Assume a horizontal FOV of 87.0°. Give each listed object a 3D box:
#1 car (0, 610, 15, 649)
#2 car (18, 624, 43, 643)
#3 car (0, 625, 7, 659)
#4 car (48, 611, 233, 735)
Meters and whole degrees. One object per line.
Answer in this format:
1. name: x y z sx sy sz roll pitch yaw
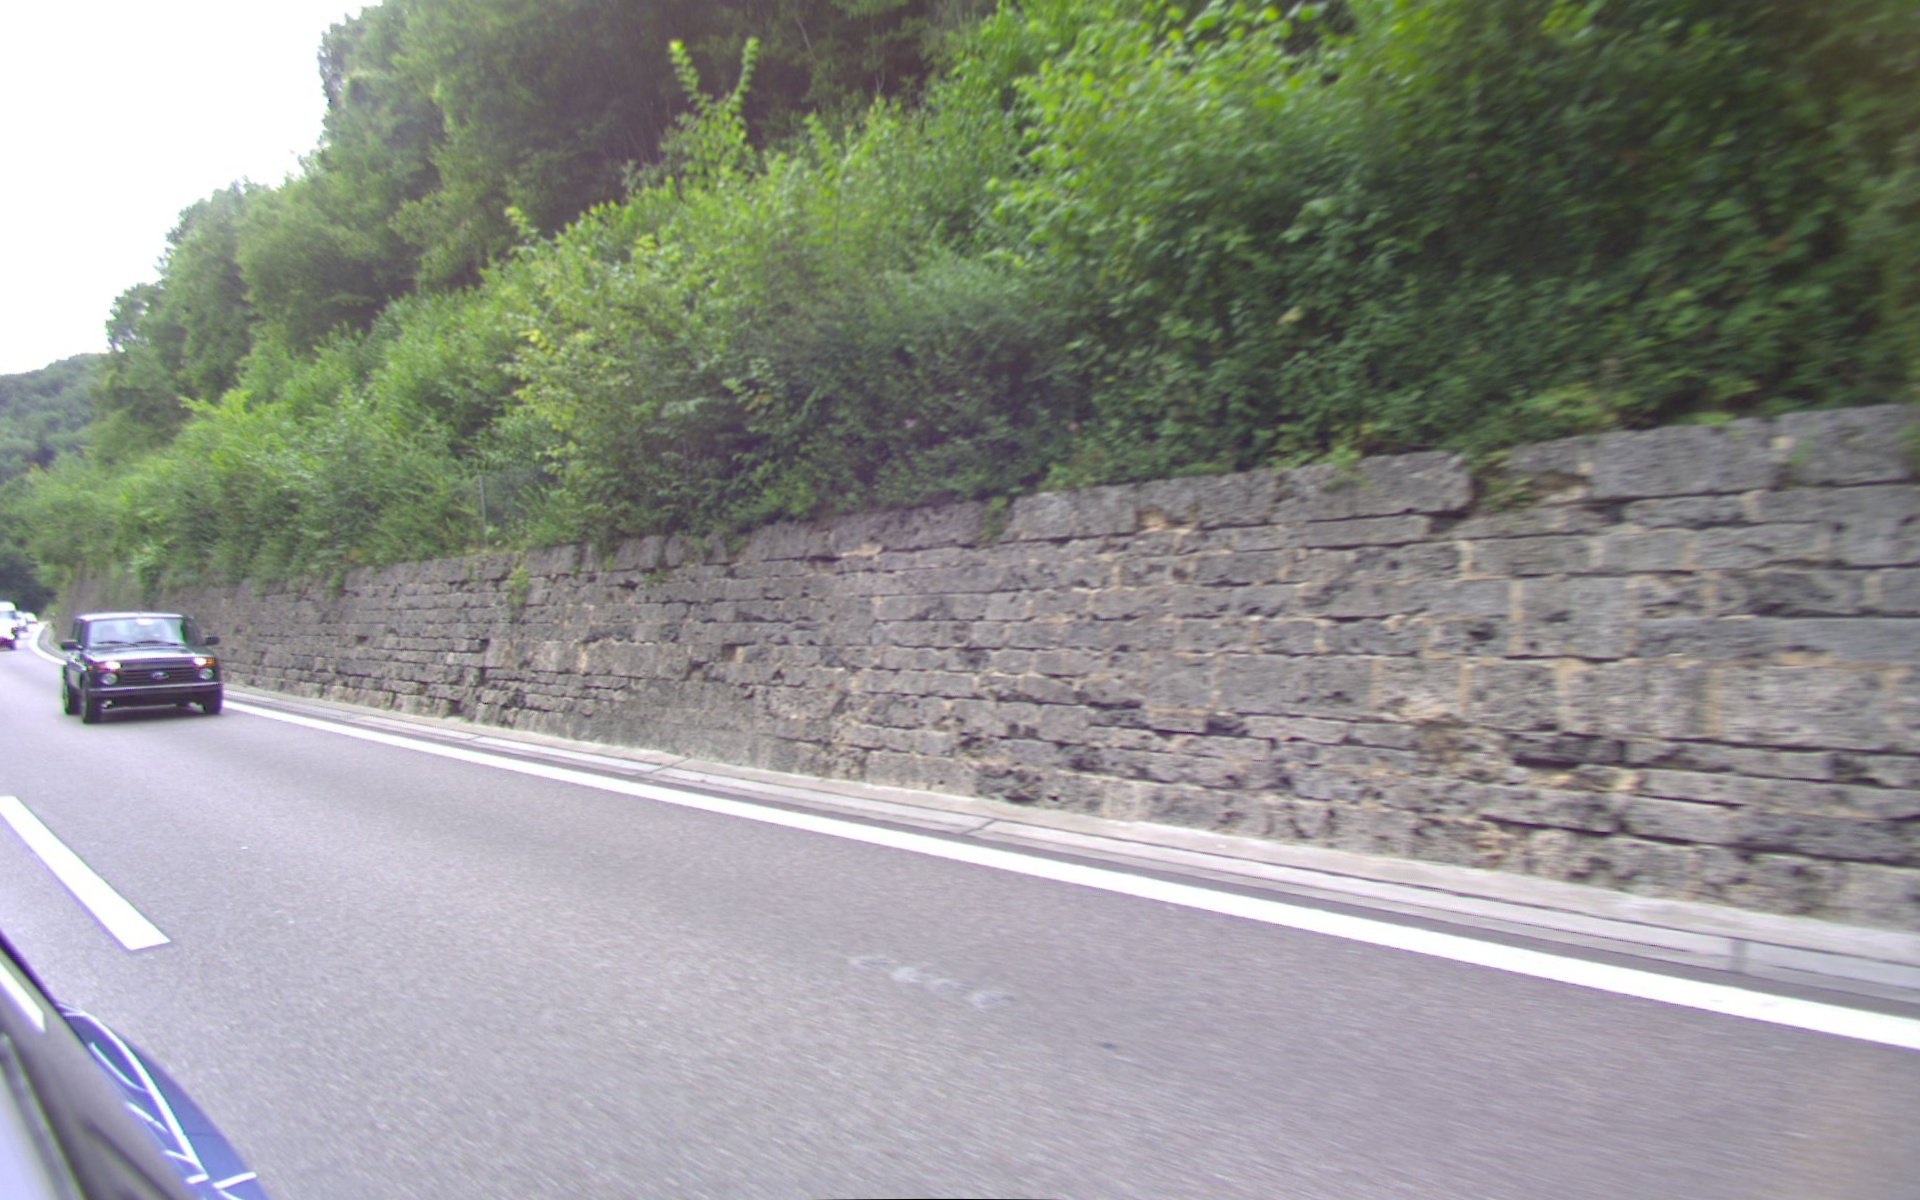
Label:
1. car: -67.554 2.085 70.838 1.948 2.663 4.587 0 -1 -44
2. car: -137.127 4.927 149.349 1.944 2.580 4.595 0 -1 -33
3. car: -48.920 2.129 50.470 4.584 1.668 1.788 -2 0 44
4. car: -13.319 1.064 16.341 4.585 1.668 1.788 -1 0 44
